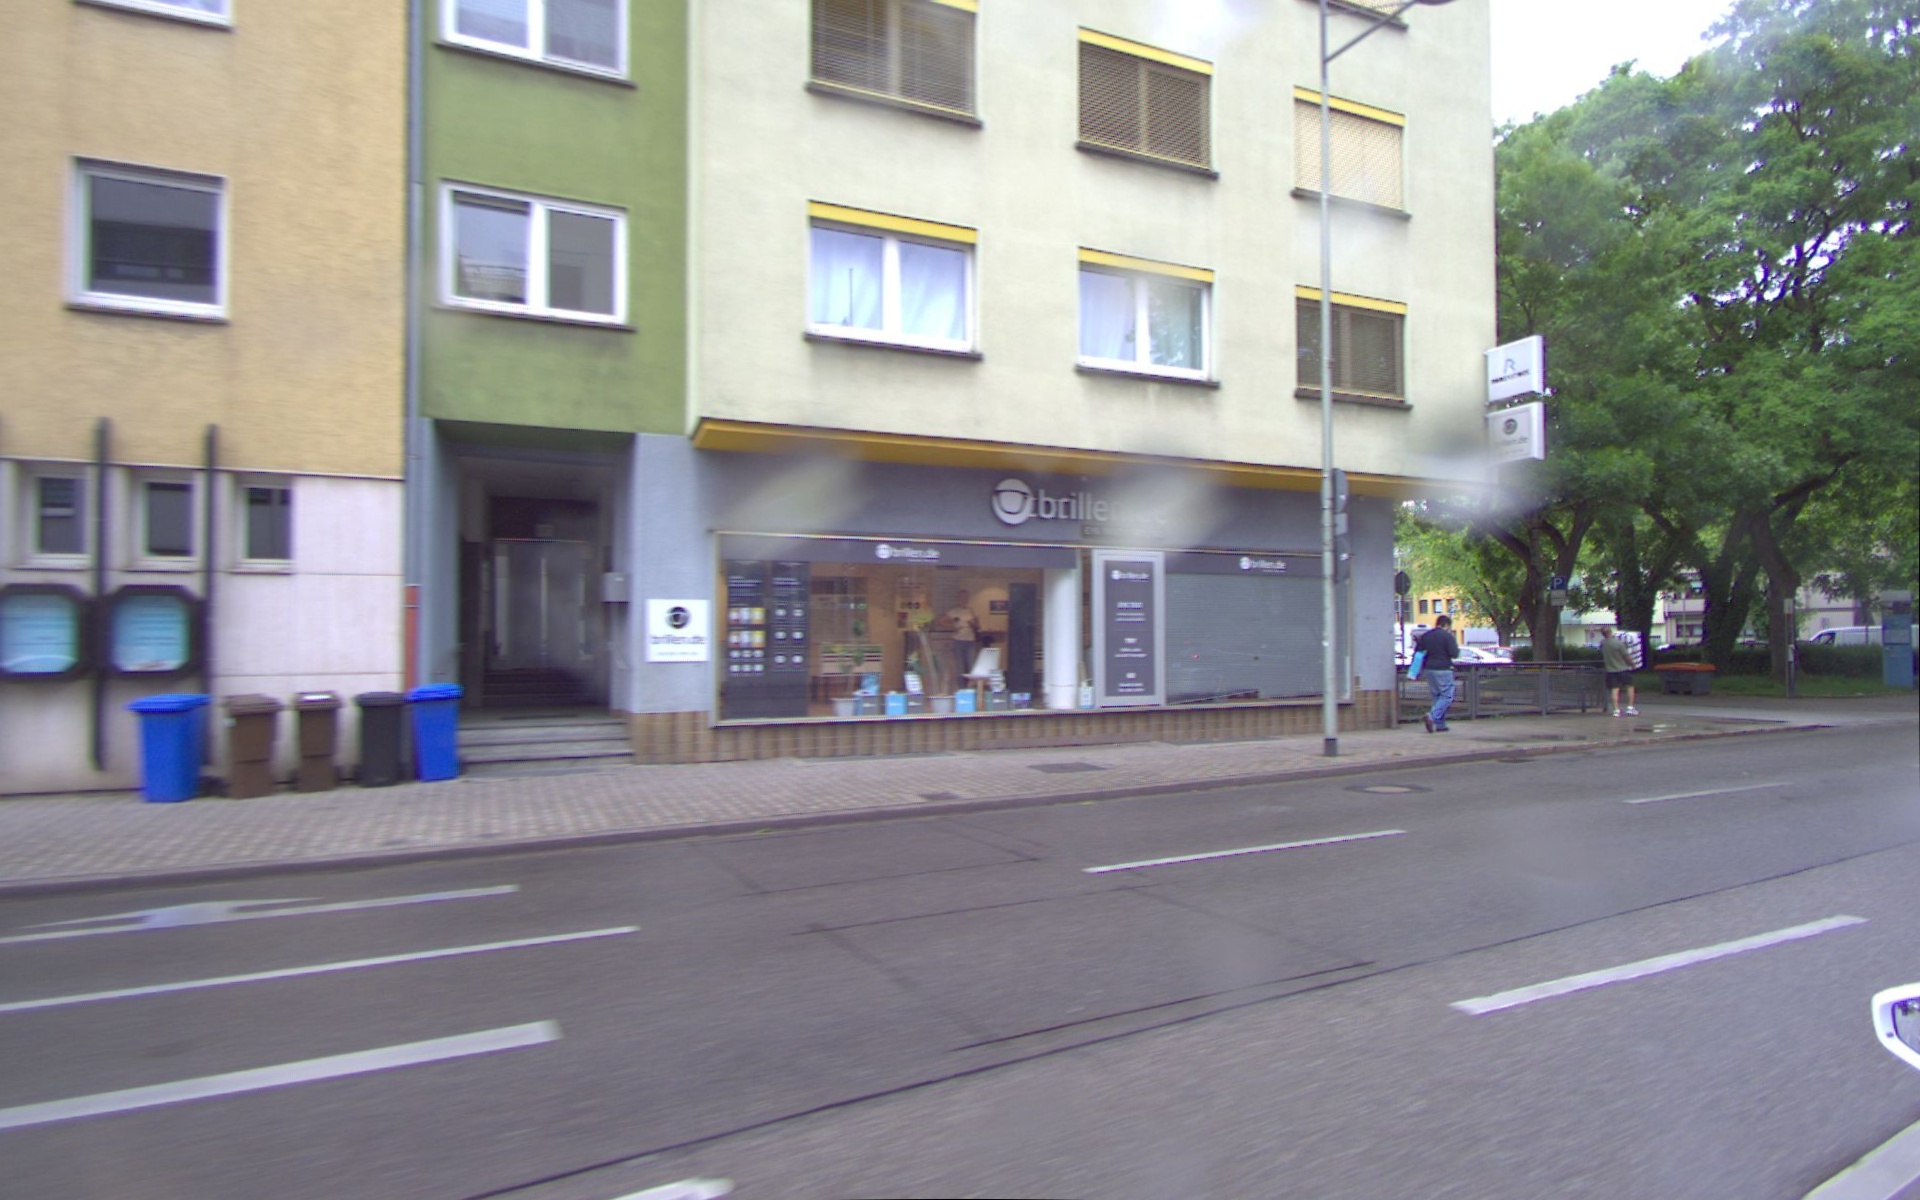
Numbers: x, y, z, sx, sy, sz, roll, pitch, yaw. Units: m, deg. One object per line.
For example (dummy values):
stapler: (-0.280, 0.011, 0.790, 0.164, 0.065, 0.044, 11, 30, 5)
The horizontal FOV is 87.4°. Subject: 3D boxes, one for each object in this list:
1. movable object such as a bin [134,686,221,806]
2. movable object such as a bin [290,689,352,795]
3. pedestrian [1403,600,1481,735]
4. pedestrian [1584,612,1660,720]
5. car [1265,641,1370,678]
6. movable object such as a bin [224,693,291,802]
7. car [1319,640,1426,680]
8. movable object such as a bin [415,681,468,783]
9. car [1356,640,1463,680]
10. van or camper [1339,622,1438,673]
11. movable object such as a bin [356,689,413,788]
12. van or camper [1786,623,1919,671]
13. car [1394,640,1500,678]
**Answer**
movable object such as a bin: (-7.264, 1.338, 9.343, 0.516, 1.014, 0.515, 1, 2, -23)
movable object such as a bin: (-6.240, 1.373, 9.822, 0.420, 0.940, 0.526, 1, 2, -22)
pedestrian: (7.496, 1.035, 15.634, 0.771, 2.040, 0.749, 1, -2, -23)
pedestrian: (12.406, 1.222, 18.836, 0.907, 1.950, 0.815, 1, -2, -25)
car: (14.840, 2.438, 41.892, 1.840, 1.483, 3.972, 1, -3, -28)
movable object such as a bin: (-6.621, 1.375, 9.486, 0.422, 0.940, 0.463, 1, 2, -23)
car: (17.571, 2.527, 42.995, 1.840, 1.647, 4.023, 1, -3, -28)
movable object such as a bin: (-5.407, 1.362, 10.490, 0.428, 0.973, 0.527, 1, 2, -22)
car: (19.483, 2.565, 43.655, 1.840, 1.647, 3.972, 1, -3, -28)
van or camper: (21.723, 2.401, 51.128, 2.073, 2.463, 4.311, 1, -2, -28)
movable object such as a bin: (-5.838, 1.388, 10.209, 0.428, 0.907, 0.527, 1, 2, -22)
van or camper: (38.805, 2.004, 43.292, 1.977, 1.975, 4.573, 1, -3, -31)
car: (21.850, 2.608, 45.187, 1.840, 1.647, 3.972, 1, -3, -28)
